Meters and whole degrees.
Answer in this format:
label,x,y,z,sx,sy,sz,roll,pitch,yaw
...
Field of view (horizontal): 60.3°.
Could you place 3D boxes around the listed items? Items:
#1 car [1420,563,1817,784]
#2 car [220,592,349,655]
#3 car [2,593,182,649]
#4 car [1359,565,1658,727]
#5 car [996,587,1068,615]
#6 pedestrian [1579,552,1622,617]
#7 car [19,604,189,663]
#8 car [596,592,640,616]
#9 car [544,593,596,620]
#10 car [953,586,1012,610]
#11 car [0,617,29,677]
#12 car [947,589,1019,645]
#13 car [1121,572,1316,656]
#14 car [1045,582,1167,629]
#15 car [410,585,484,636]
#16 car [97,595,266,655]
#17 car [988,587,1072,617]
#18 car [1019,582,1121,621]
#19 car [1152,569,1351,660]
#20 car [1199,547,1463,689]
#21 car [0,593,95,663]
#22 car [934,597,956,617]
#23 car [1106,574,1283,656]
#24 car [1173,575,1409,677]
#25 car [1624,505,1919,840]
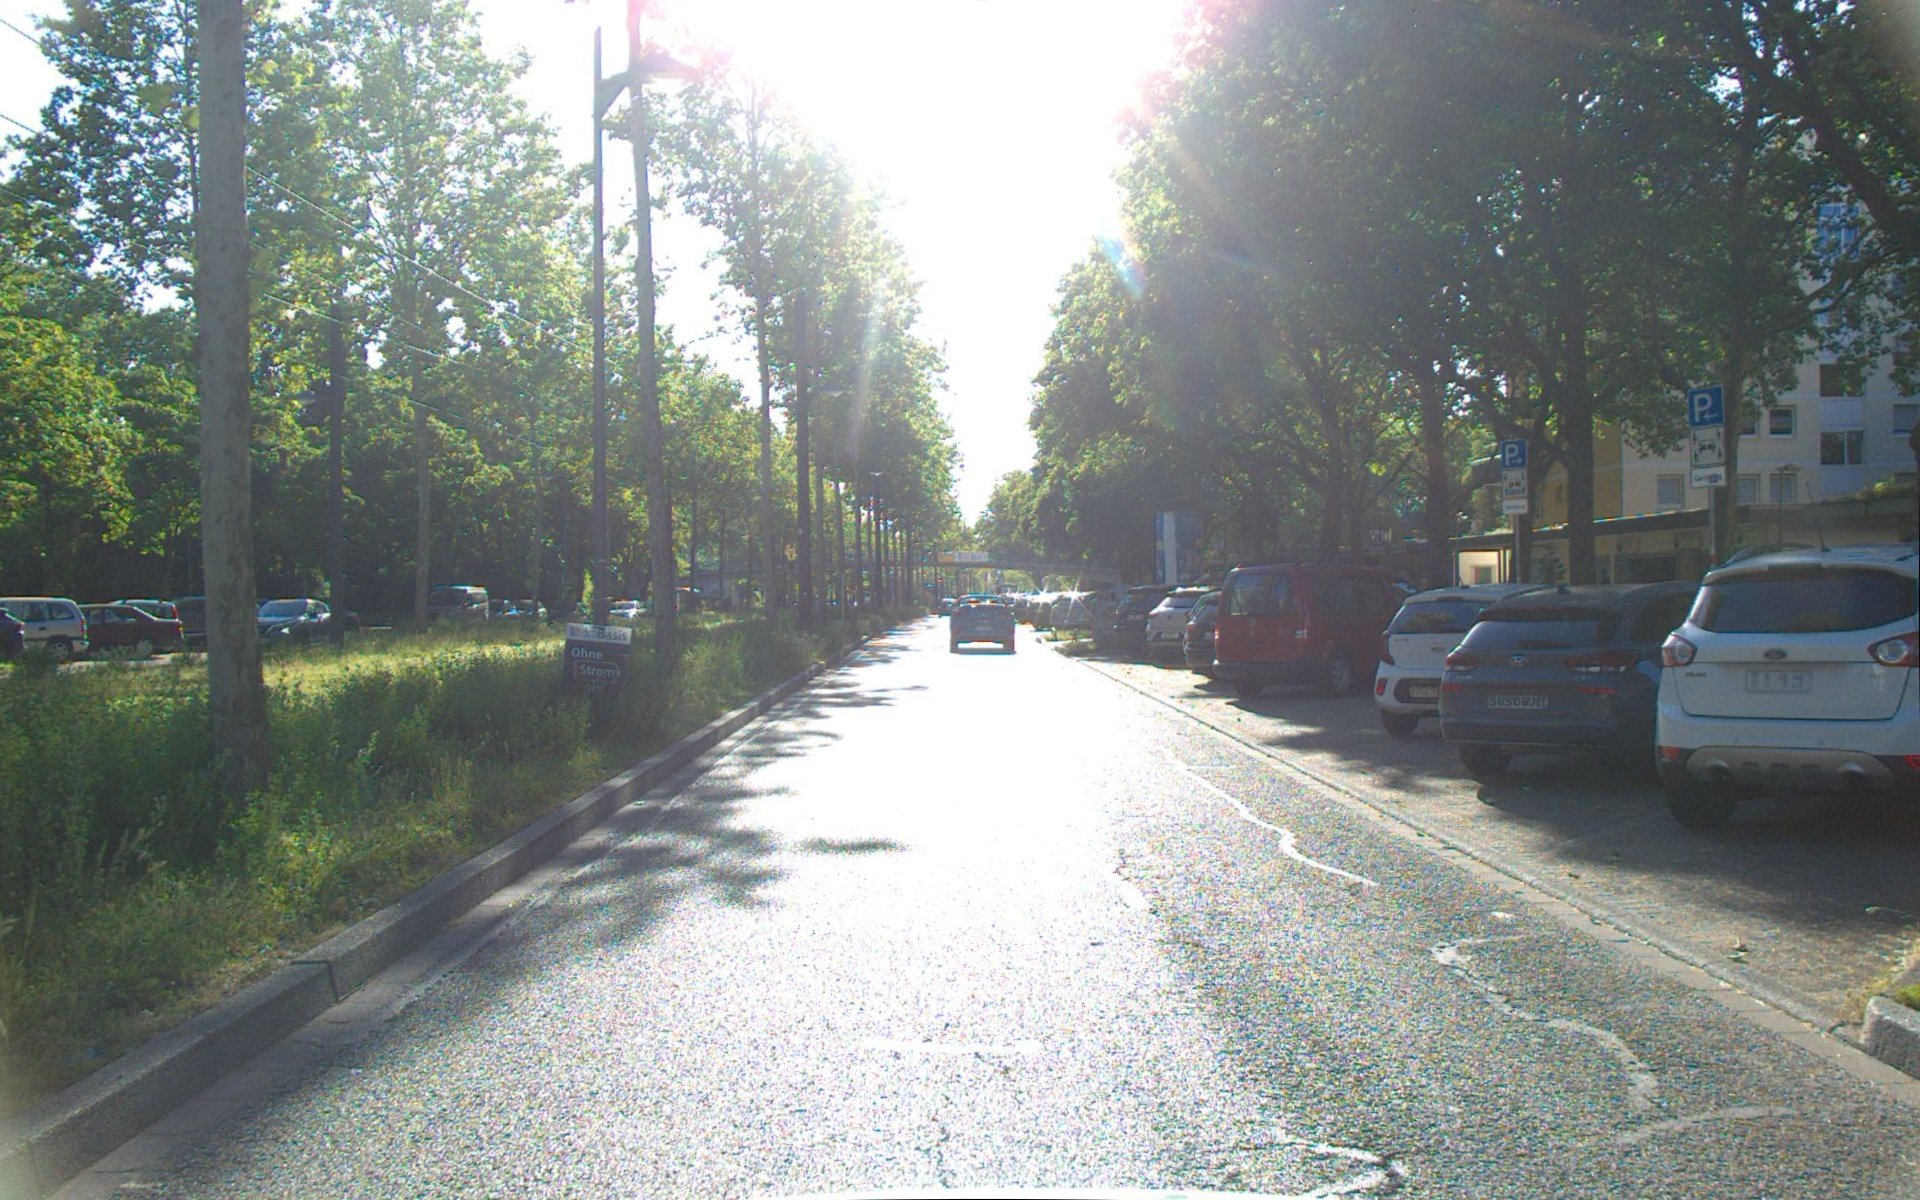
label,x,y,z,sx,sy,sz,roll,pitch,yaw
car,5.473,0.503,13.525,3.759,1.496,1.624,-2,0,-45
car,-18.446,0.613,45.389,1.885,1.532,4.084,-3,0,-2
car,-25.168,0.589,48.027,4.439,1.507,1.596,-1,0,-37
car,5.831,0.420,17.369,1.622,1.473,3.605,-2,0,43
car,4.493,0.064,102.862,4.587,1.710,1.827,0,0,-43
pedestrian,19.325,-0.466,49.910,0.856,1.947,0.869,-1,0,-9
car,-23.828,0.902,46.119,3.891,1.513,1.767,-1,0,-44
car,-22.316,0.266,108.062,1.952,1.478,4.001,2,0,1
car,-22.632,0.359,96.126,1.952,1.478,4.001,2,0,1
car,1.740,-0.114,126.427,4.587,1.799,1.827,0,0,-43
car,-24.148,1.135,38.448,4.100,1.361,1.767,-1,1,-44
car,0.615,0.440,45.491,1.883,1.436,4.000,0,1,0
car,5.563,0.271,35.377,4.039,1.609,1.759,-2,0,-36
car,5.209,0.177,58.676,4.461,1.469,1.826,-2,1,-45
car,-22.784,0.454,73.634,1.611,2.129,4.915,2,0,1
car,-24.186,0.753,51.471,4.452,1.704,1.767,-1,0,-44
car,3.715,0.108,87.556,1.945,1.484,4.595,-1,0,43
car,4.626,0.050,69.107,4.298,1.449,1.826,-2,1,-45
car,5.778,0.258,32.512,4.053,1.609,1.753,-2,0,-43
car,5.440,0.213,23.983,4.049,1.842,1.627,-2,0,-41
car,-24.371,0.715,42.012,3.948,1.704,1.759,-1,0,-44
car,-1.205,0.591,134.752,1.811,1.562,3.866,-1,1,0
car,5.458,0.307,38.147,4.280,1.747,1.612,-1,1,-40
car,5.622,0.399,27.901,4.042,1.507,1.629,-2,0,-37
car,5.976,0.326,10.430,3.994,1.734,1.734,-2,0,-42
